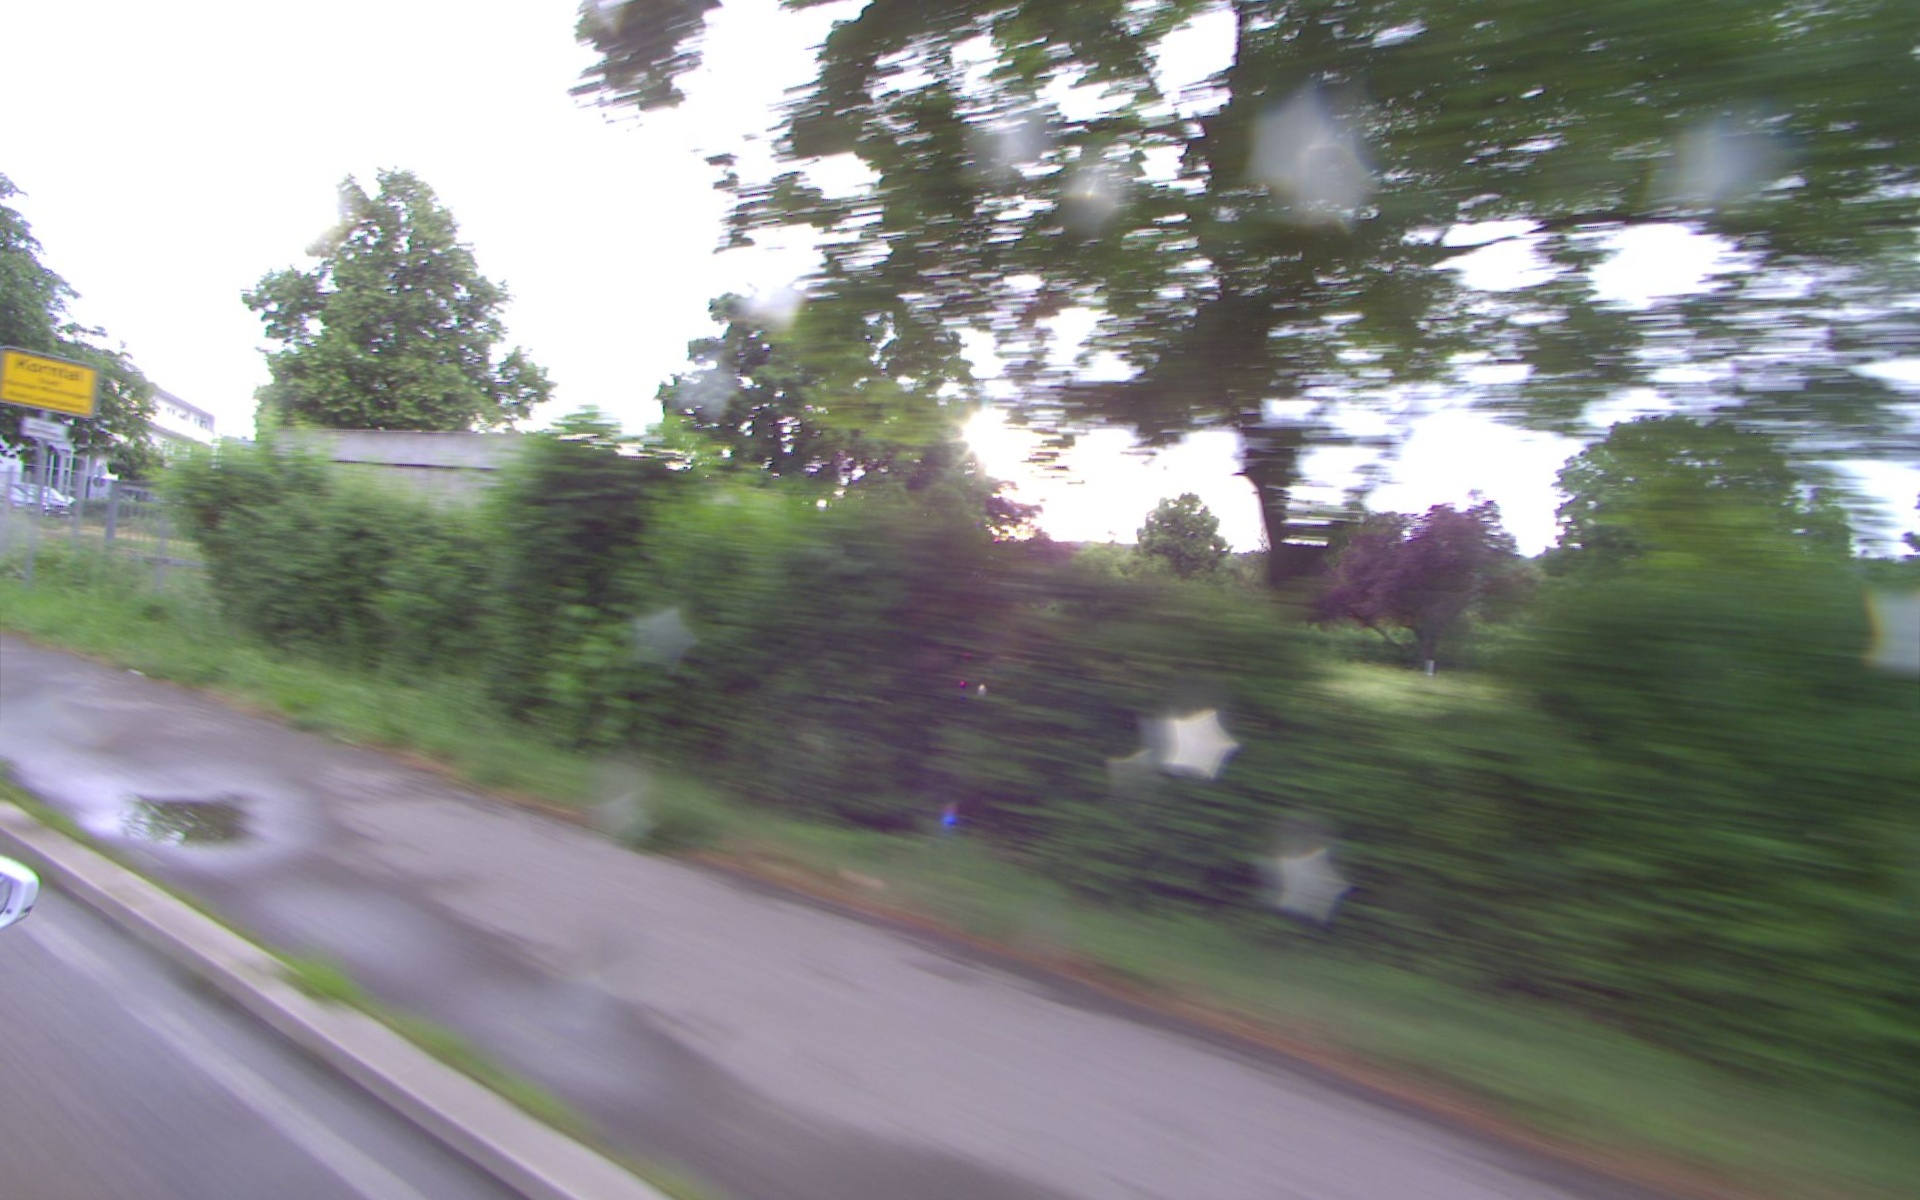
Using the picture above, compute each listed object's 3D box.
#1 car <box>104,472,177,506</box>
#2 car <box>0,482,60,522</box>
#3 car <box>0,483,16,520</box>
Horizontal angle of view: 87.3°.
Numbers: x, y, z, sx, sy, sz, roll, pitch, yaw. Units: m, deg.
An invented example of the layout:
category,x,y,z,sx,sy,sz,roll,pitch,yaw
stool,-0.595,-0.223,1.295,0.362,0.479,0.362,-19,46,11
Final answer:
category,x,y,z,sx,sy,sz,roll,pitch,yaw
car,-56.949,-7.708,69.994,3.632,1.512,1.642,9,-3,-33
car,-48.260,-5.094,51.222,4.534,1.621,1.656,7,-2,22
car,-47.150,-4.925,47.701,4.534,1.621,1.656,7,-2,22
